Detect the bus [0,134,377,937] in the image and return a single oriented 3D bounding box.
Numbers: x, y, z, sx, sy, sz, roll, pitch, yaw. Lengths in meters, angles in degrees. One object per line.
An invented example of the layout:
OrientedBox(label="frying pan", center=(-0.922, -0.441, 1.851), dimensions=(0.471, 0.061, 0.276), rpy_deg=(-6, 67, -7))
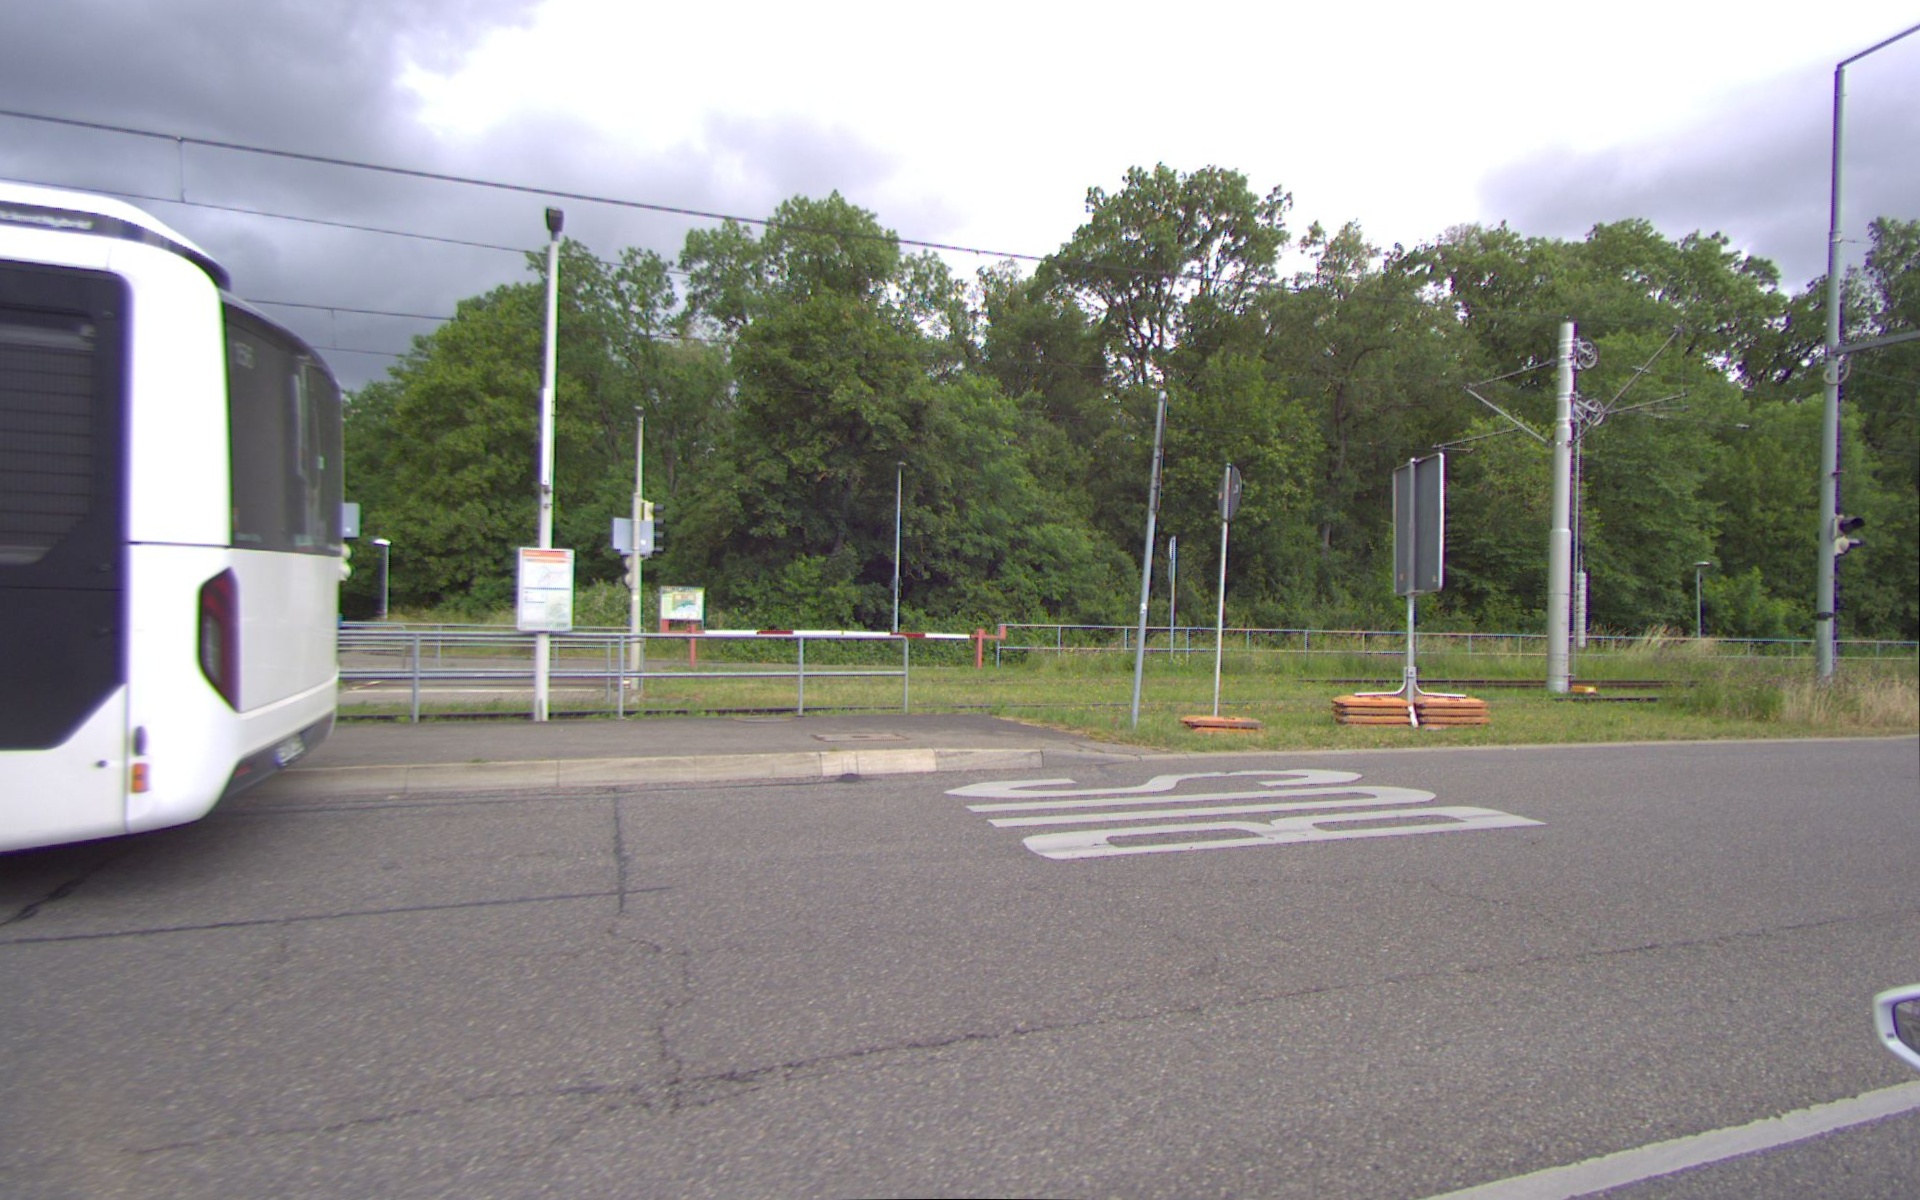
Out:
OrientedBox(label="bus", center=(-9.181, -0.397, 3.463), dimensions=(12.017, 3.245, 2.662), rpy_deg=(2, -1, -21))
